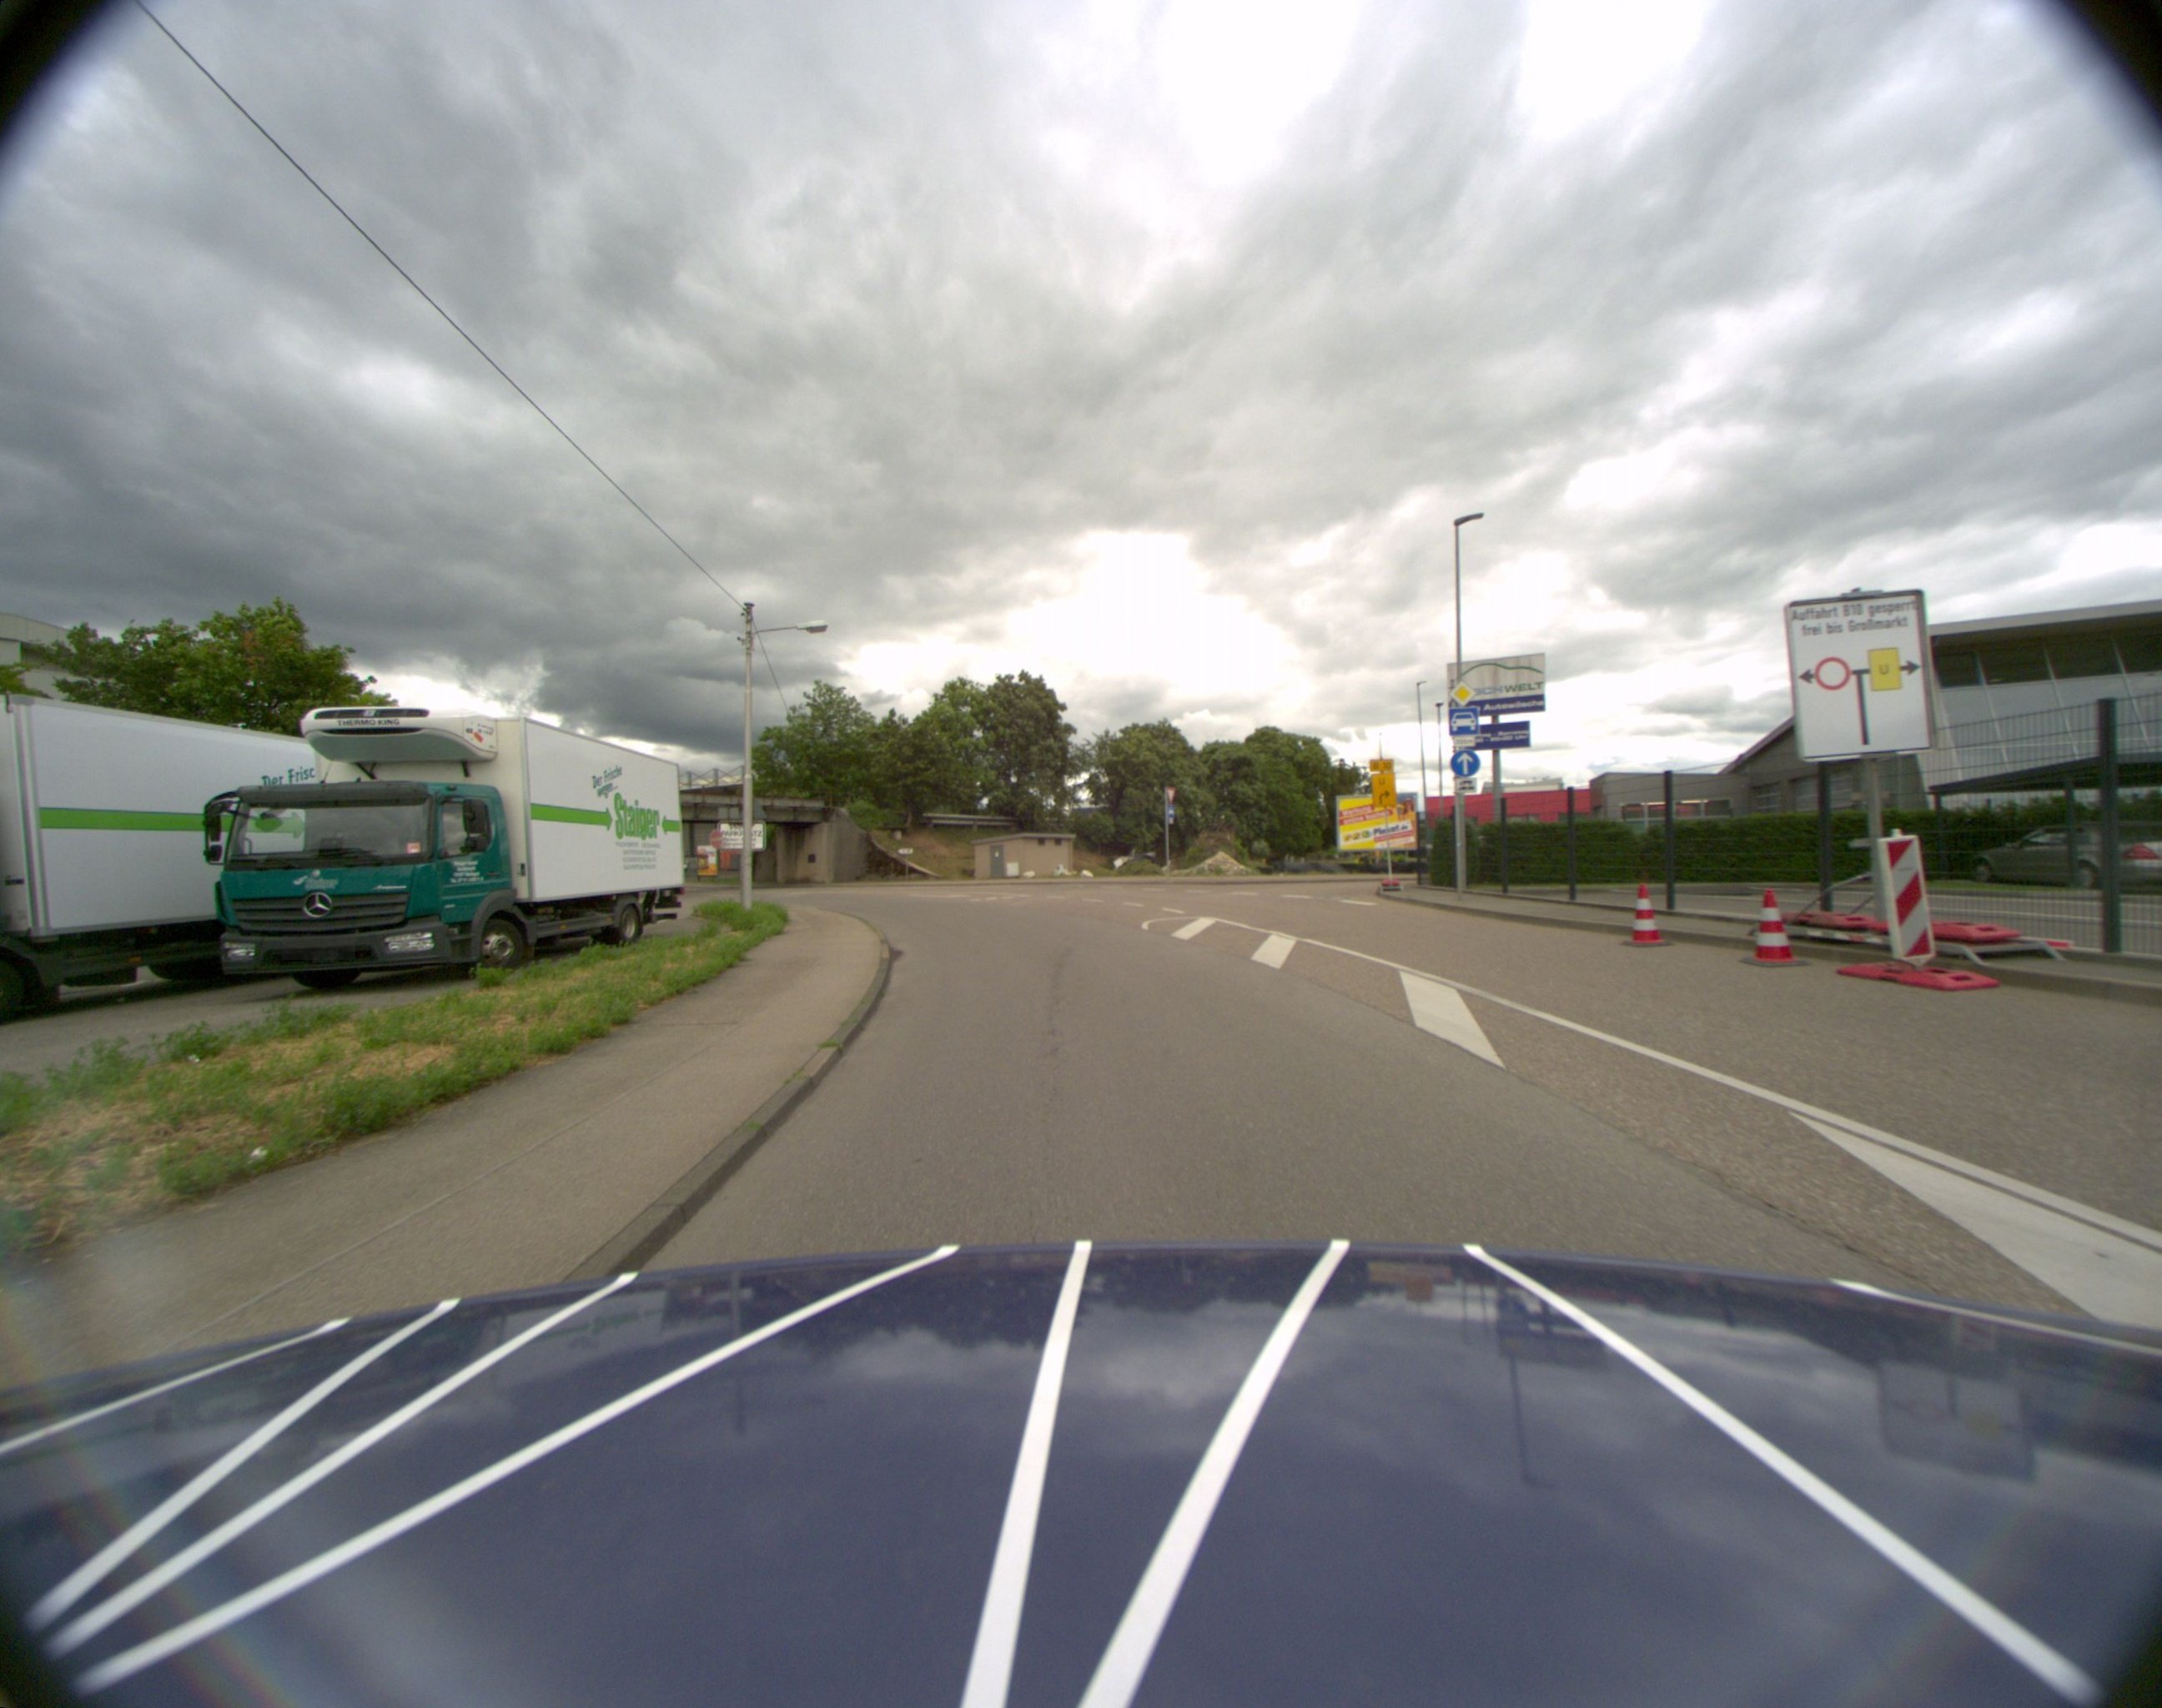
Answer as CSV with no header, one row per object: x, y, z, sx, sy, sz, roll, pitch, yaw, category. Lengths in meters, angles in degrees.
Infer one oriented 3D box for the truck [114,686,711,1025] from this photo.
-9.352,-0.053,12.643,3.072,3.610,8.598,-2,1,-8,truck

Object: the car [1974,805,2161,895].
21.388,-0.112,15.676,2.069,1.660,4.253,-1,1,21,car

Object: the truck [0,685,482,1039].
-12.830,0.155,10.302,3.072,3.610,8.599,-4,1,-7,truck
